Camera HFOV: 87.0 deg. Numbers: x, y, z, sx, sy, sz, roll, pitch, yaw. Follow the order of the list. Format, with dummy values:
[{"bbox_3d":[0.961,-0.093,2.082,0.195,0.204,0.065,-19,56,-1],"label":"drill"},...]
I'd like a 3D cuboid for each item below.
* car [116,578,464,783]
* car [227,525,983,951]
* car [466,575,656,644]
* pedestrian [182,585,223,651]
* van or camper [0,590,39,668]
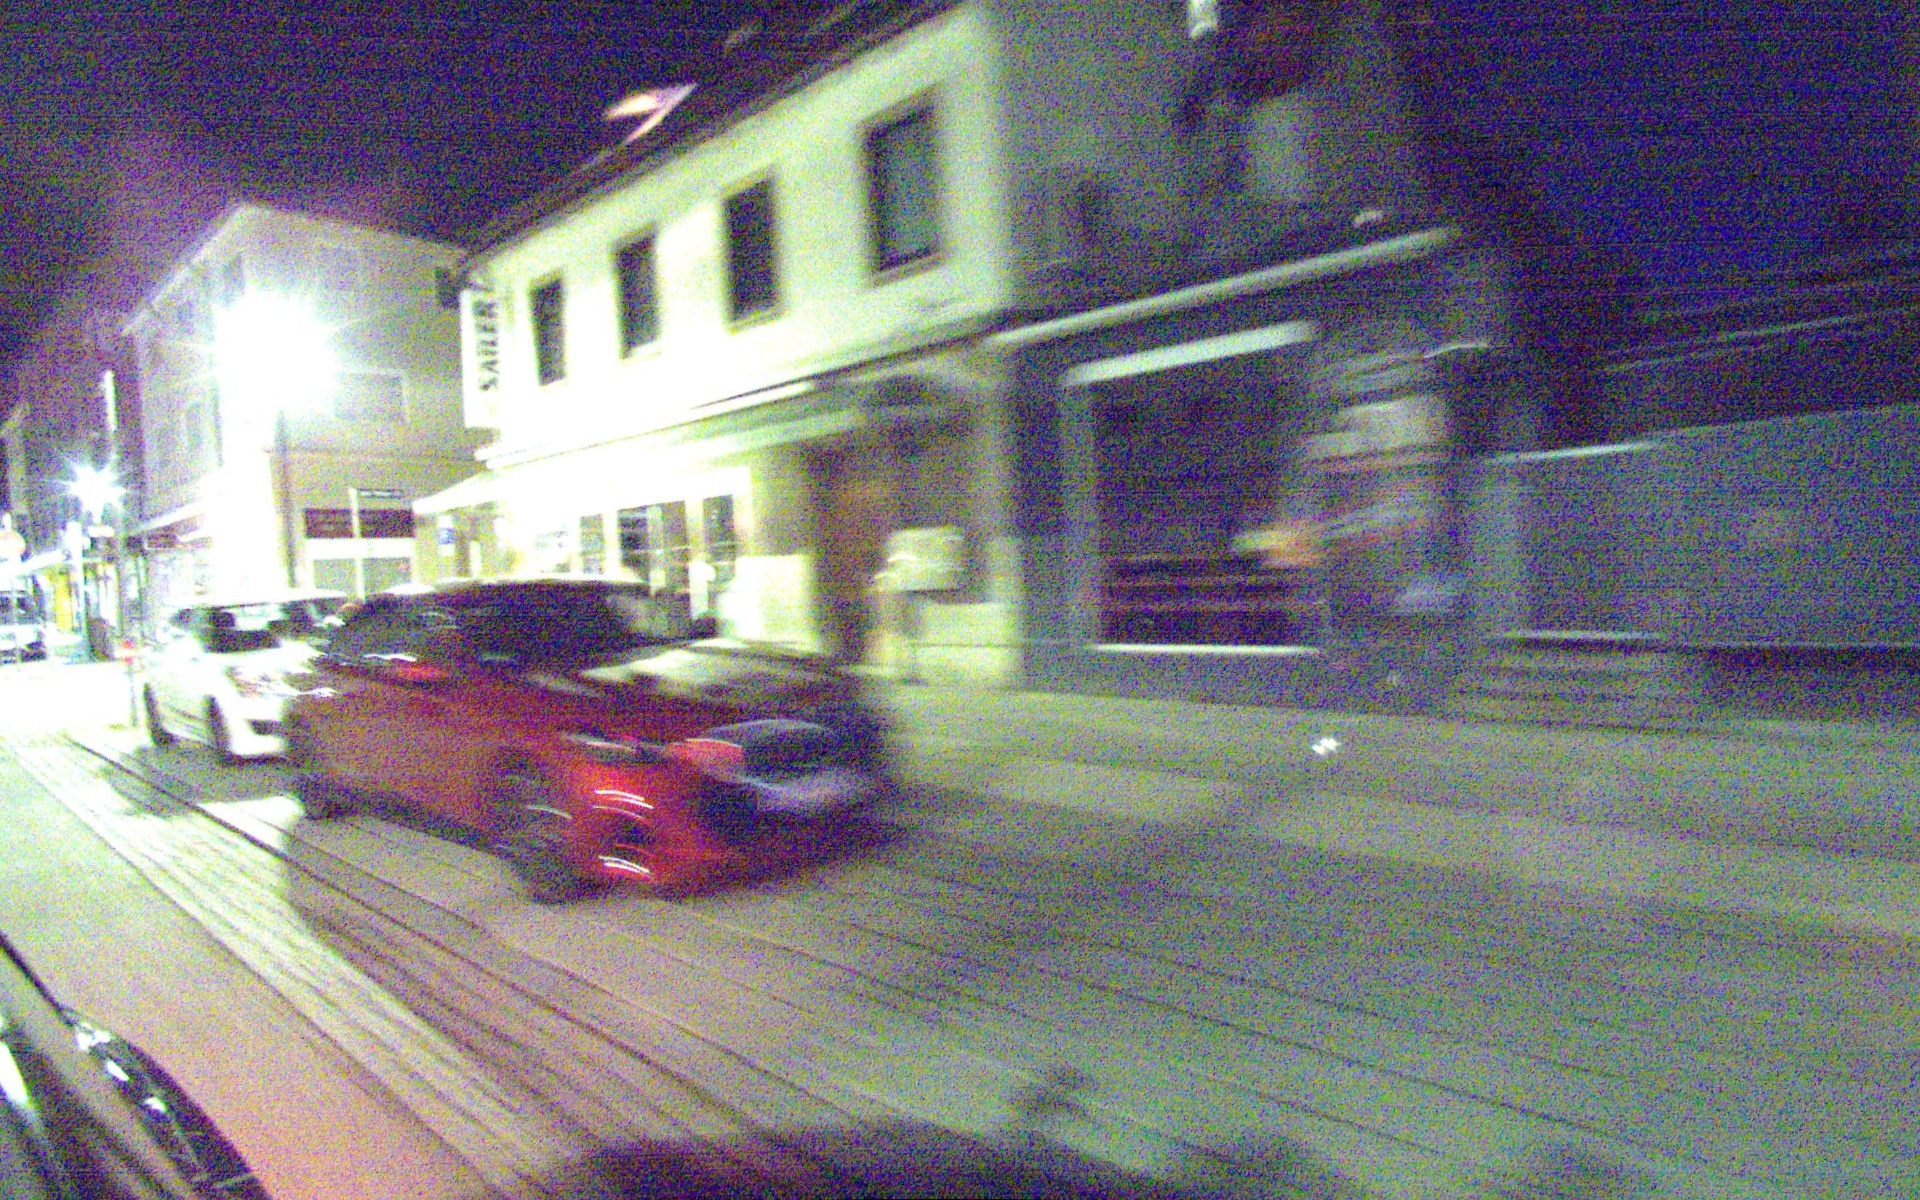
[{"bbox_3d":[-6.479,0.641,9.640,3.844,1.487,1.711,-1,3,41],"label":"car"},{"bbox_3d":[-2.462,0.503,6.122,5.005,1.498,2.000,-1,5,41],"label":"car"},{"bbox_3d":[-10.735,0.221,27.480,1.779,1.411,4.397,-5,1,41],"label":"car"},{"bbox_3d":[-20.888,0.500,27.913,1.022,1.758,0.615,-1,2,42],"label":"pedestrian"},{"bbox_3d":[-26.232,0.791,27.351,1.824,1.956,5.158,-5,3,-43],"label":"van or camper"}]
